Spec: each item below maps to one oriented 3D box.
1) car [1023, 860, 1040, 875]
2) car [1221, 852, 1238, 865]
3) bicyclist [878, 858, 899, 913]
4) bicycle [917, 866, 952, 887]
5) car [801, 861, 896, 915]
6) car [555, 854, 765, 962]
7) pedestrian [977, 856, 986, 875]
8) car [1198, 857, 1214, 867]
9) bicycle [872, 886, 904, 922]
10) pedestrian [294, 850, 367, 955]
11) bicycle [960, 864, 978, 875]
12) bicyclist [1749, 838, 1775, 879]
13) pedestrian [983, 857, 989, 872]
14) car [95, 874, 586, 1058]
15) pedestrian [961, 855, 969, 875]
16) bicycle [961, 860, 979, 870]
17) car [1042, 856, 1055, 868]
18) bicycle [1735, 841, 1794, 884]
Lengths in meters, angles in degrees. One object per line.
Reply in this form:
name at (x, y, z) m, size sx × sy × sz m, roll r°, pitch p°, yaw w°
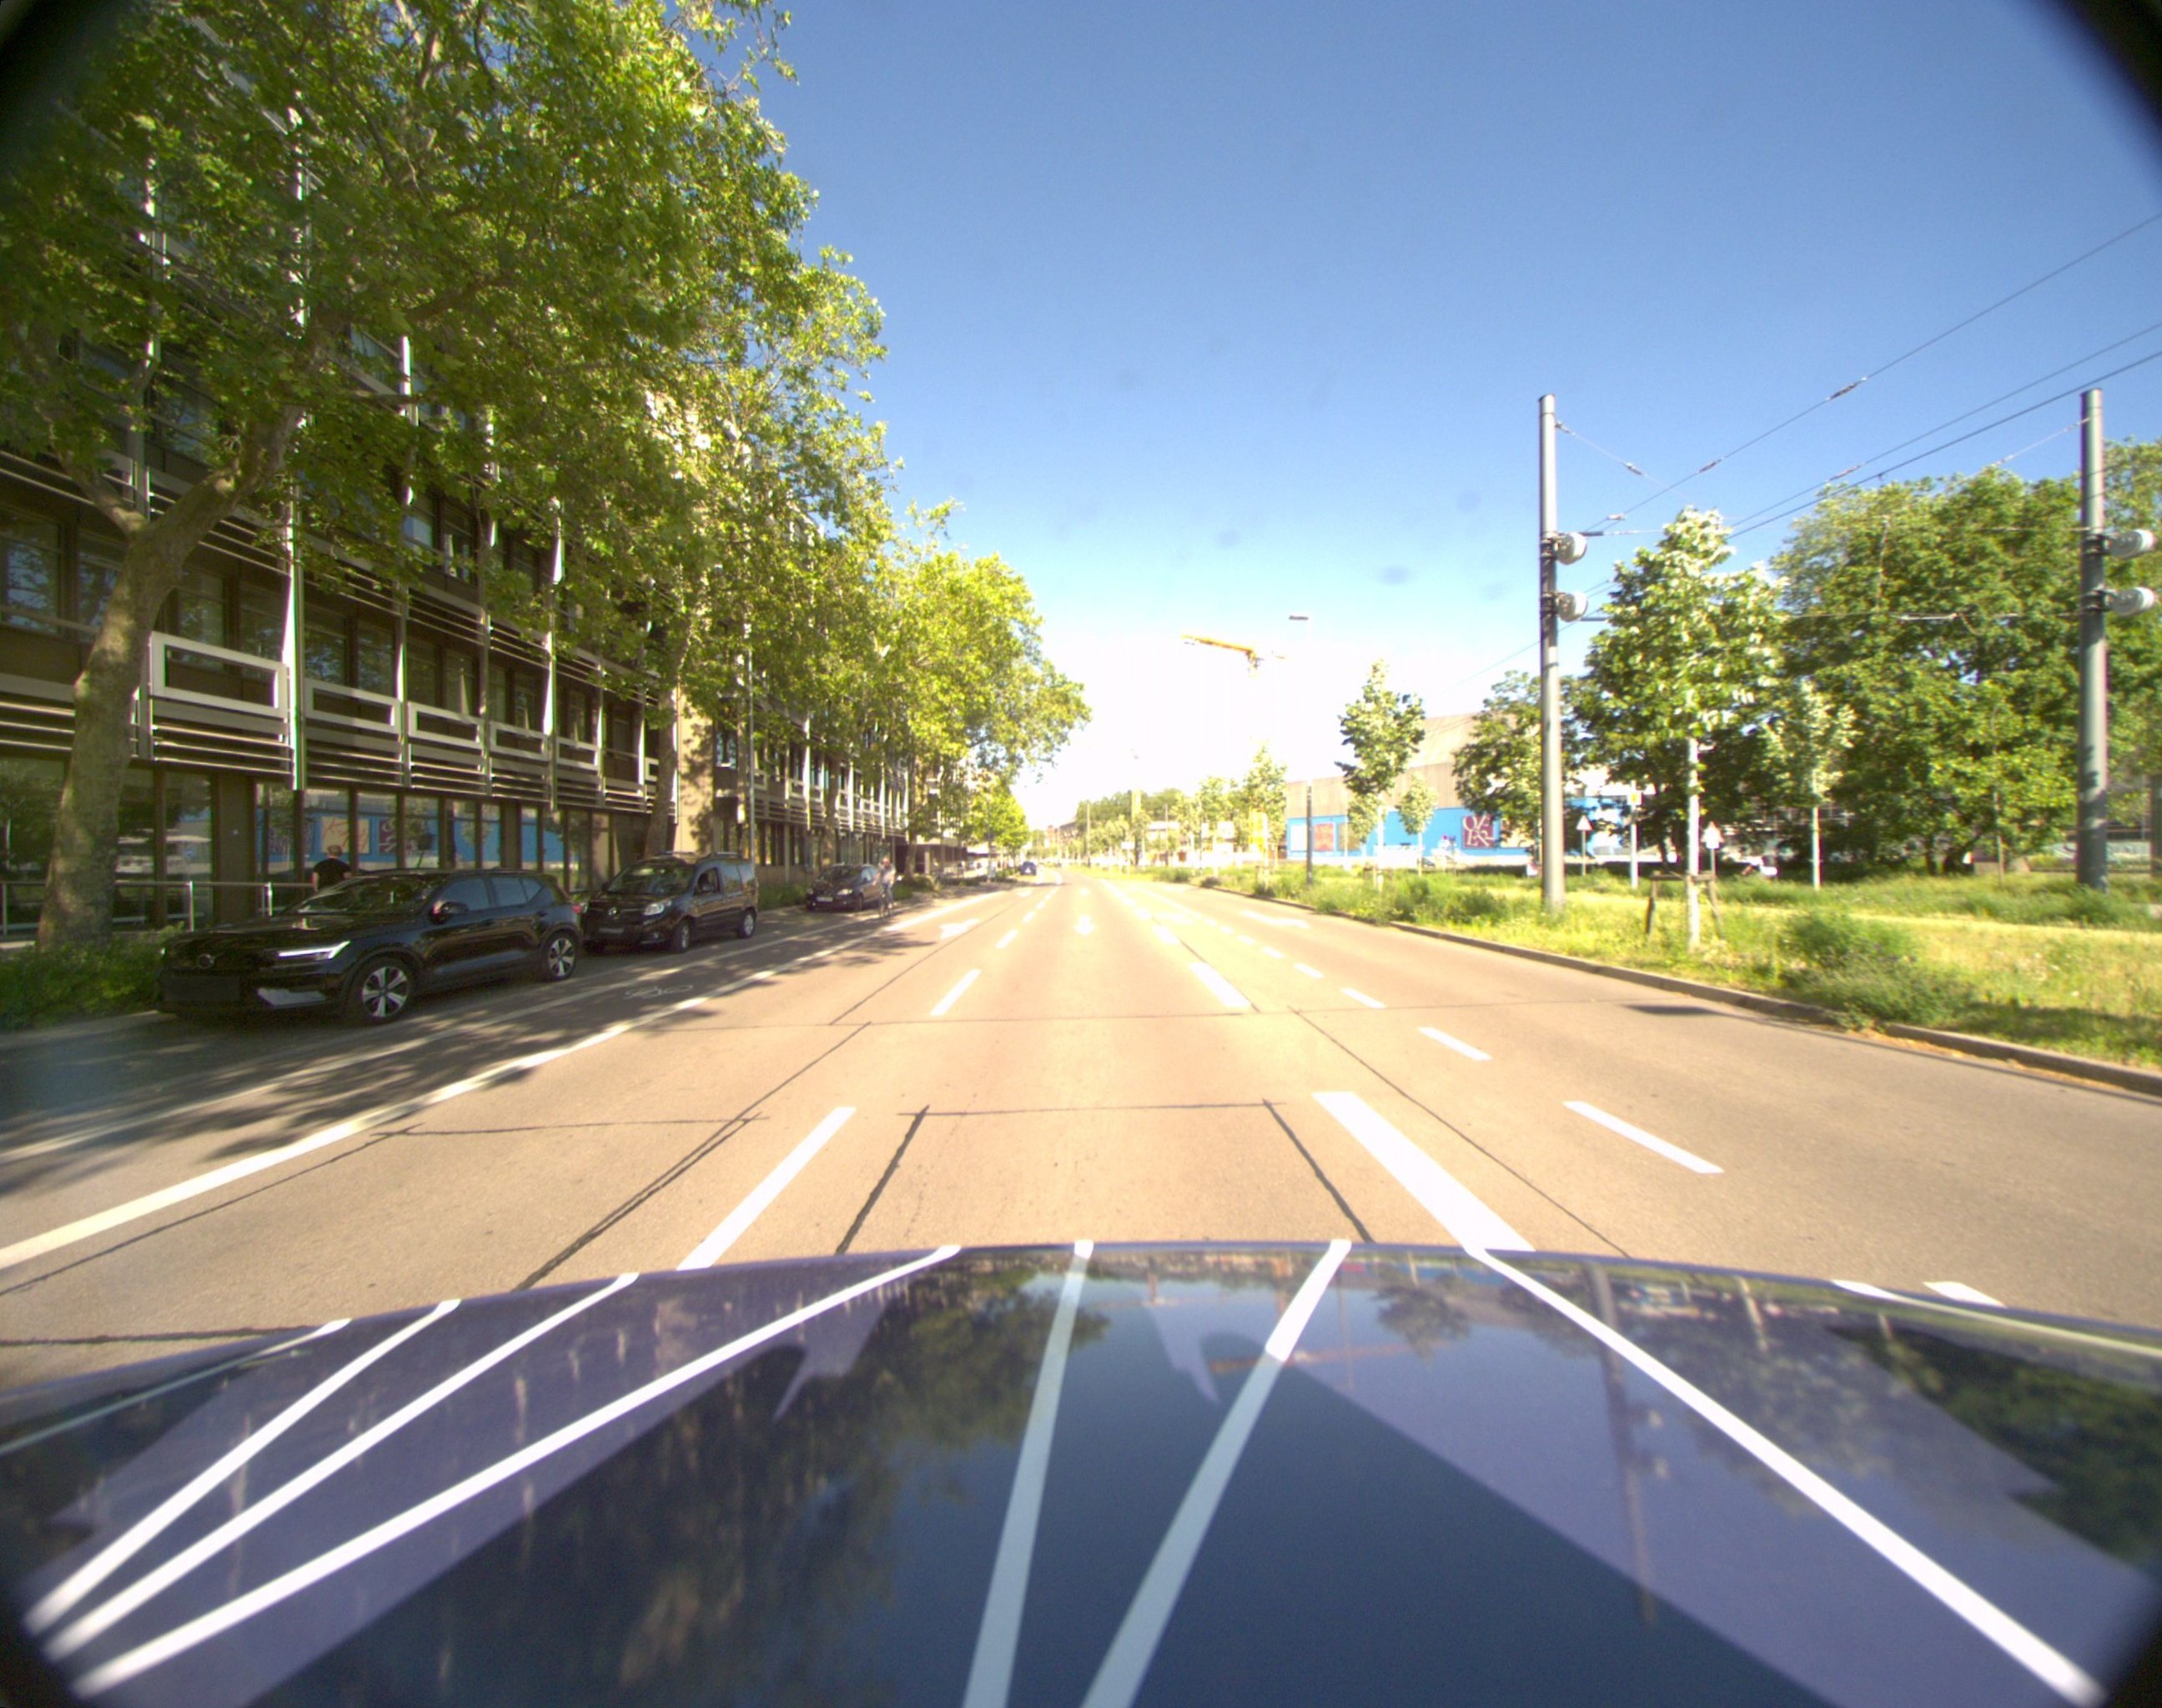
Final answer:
car at (-5.803, 1.571, 89.771) m, size 1.854 × 1.647 × 4.847 m, roll 1°, pitch 0°, yaw -2°
car at (22.919, 0.658, 117.597) m, size 1.802 × 1.787 × 3.999 m, roll -3°, pitch 1°, yaw 1°
bicyclist at (-5.687, 0.917, 22.456) m, size 0.514 × 1.592 × 0.536 m, roll -1°, pitch 1°, yaw -4°
bicycle at (-8.630, 1.324, 44.702) m, size 1.942 × 1.229 × 0.579 m, roll 1°, pitch 0°, yaw -3°
car at (-7.931, 1.099, 26.396) m, size 1.708 × 1.633 × 4.637 m, roll 1°, pitch 0°, yaw 2°
car at (-7.933, 0.915, 14.846) m, size 1.708 × 1.779 × 4.192 m, roll 1°, pitch 0°, yaw 1°
pedestrian at (-9.315, 1.092, 71.263) m, size 0.649 × 1.718 × 0.803 m, roll -1°, pitch 0°, yaw 0°
car at (19.319, 1.229, 117.602) m, size 1.637 × 1.390 × 3.833 m, roll -1°, pitch 0°, yaw -1°
bicycle at (-5.682, 1.456, 22.423) m, size 0.499 × 0.900 × 2.196 m, roll -2°, pitch 0°, yaw -4°
pedestrian at (-14.055, 0.887, 14.246) m, size 0.678 × 1.905 × 0.557 m, roll -3°, pitch 1°, yaw 1°
bicycle at (-11.991, 1.634, 81.154) m, size 1.862 × 1.091 × 0.427 m, roll 1°, pitch 0°, yaw 1°
bicyclist at (24.405, 0.165, 27.223) m, size 0.395 × 1.446 × 0.539 m, roll -3°, pitch 1°, yaw -1°
pedestrian at (-9.909, 1.096, 79.217) m, size 0.512 × 1.466 × 0.736 m, roll -1°, pitch 0°, yaw 0°
car at (-8.166, 1.085, 9.075) m, size 1.708 × 1.554 × 4.192 m, roll -1°, pitch 0°, yaw 1°
pedestrian at (-9.862, 0.954, 64.779) m, size 0.512 × 1.691 × 0.774 m, roll -1°, pitch 0°, yaw 0°
bicycle at (-12.057, 1.231, 82.281) m, size 1.862 × 1.005 × 0.427 m, roll 1°, pitch 0°, yaw 1°
car at (-5.249, 1.274, 124.671) m, size 1.822 × 1.783 × 3.999 m, roll -3°, pitch 1°, yaw 1°
bicycle at (24.414, 0.301, 27.183) m, size 0.361 × 1.447 × 1.914 m, roll -1°, pitch 0°, yaw 1°
